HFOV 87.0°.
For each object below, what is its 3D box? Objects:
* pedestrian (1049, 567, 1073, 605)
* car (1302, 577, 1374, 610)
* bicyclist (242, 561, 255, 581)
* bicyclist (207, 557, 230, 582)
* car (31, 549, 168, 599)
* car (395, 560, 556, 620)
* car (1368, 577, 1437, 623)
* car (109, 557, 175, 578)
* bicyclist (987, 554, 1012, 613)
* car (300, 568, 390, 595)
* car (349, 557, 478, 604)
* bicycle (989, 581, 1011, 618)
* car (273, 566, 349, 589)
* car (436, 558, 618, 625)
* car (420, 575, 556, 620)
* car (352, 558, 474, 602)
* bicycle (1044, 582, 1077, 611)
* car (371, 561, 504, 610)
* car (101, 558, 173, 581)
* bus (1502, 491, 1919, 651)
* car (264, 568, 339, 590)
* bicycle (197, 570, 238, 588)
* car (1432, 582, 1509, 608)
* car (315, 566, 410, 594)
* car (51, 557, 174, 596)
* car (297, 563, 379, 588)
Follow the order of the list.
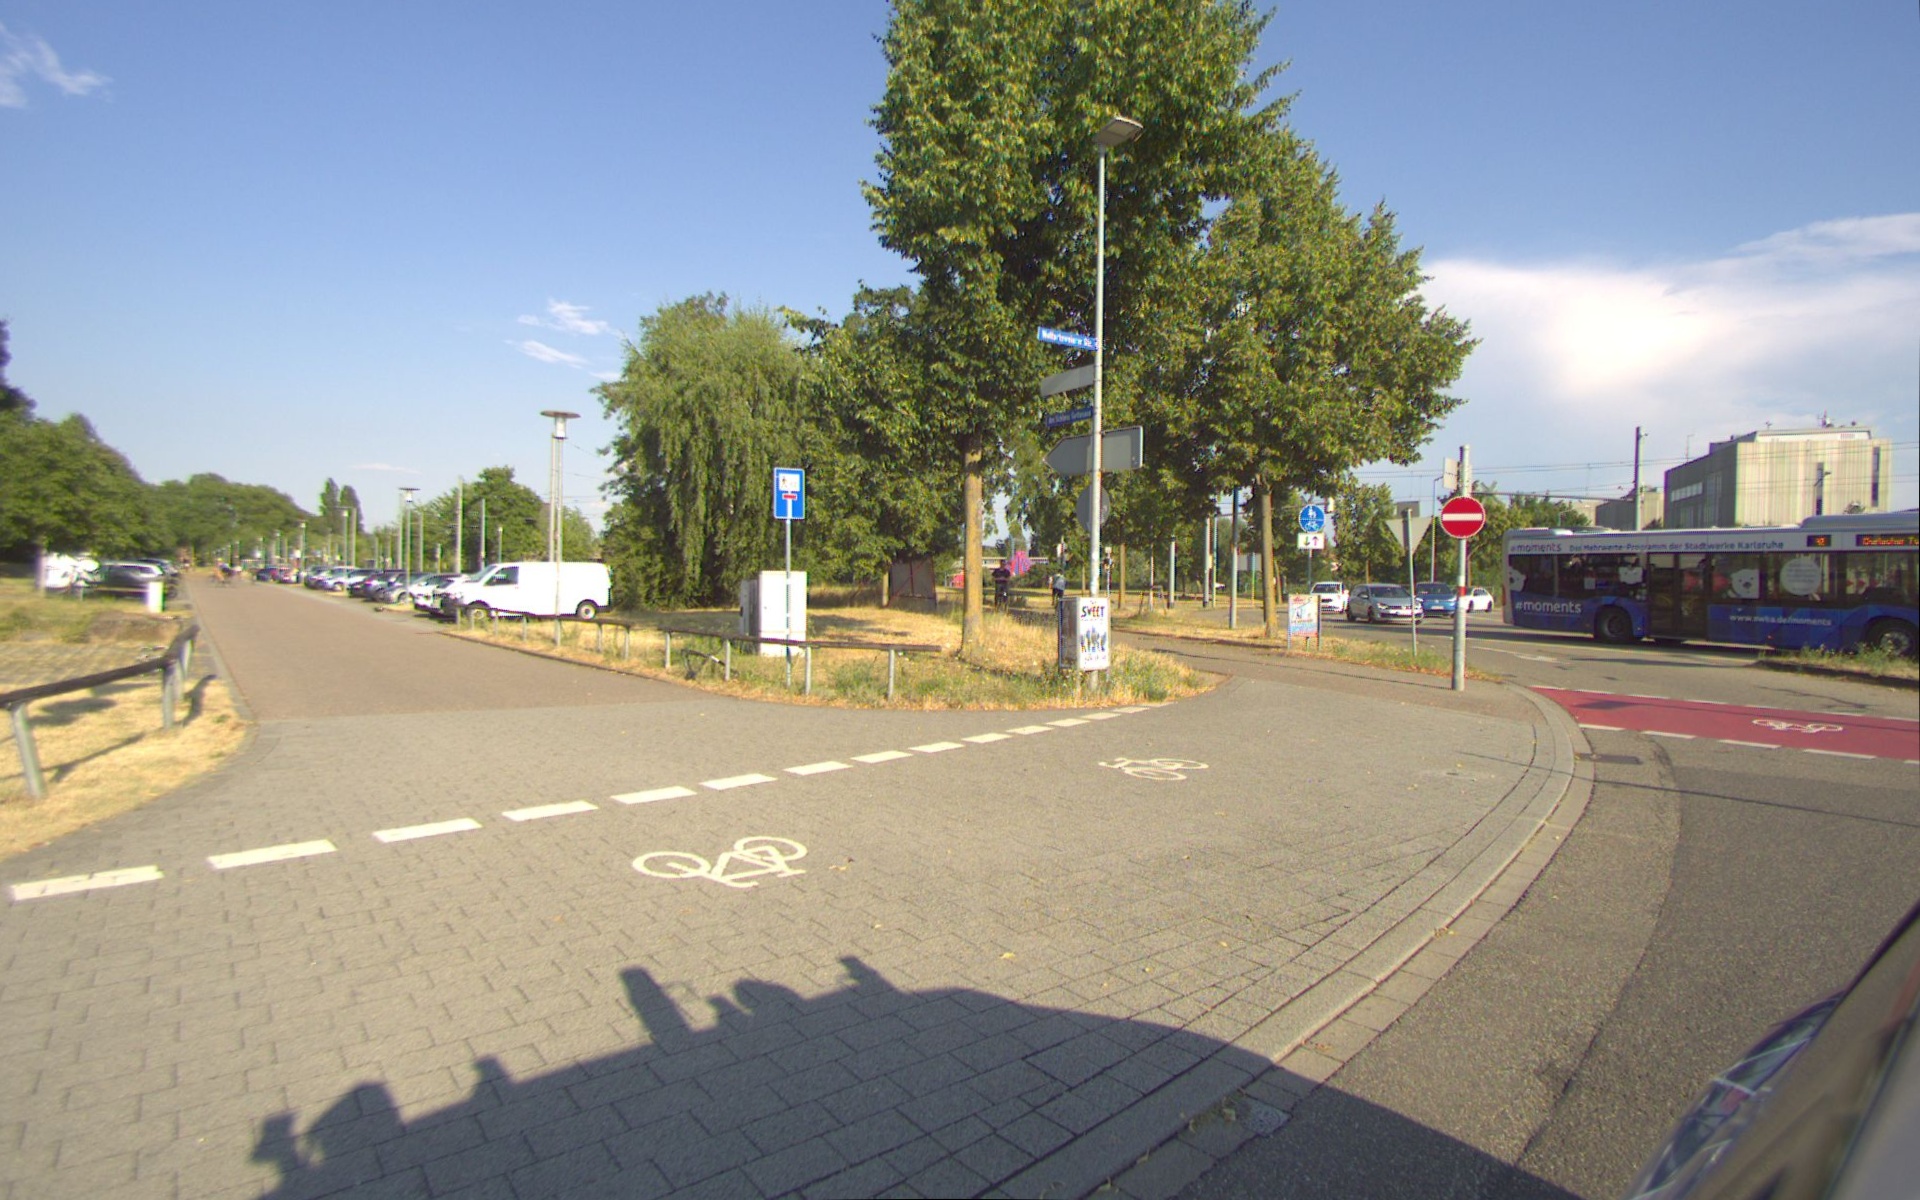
[{"bbox_3d":[3.836,-0.535,38.347,0.647,1.409,0.760,3,1,27],"label":"pedestrian"},{"bbox_3d":[18.903,-0.326,50.547,1.907,1.570,3.983,2,1,45],"label":"car"},{"bbox_3d":[-56.106,-2.308,79.765,0.737,1.544,0.892,1,1,-42],"label":"bicyclist"},{"bbox_3d":[-48.362,-1.999,66.000,0.920,1.612,0.821,1,1,12],"label":"bicyclist"},{"bbox_3d":[-32.998,-0.962,38.929,3.929,1.816,1.891,0,1,-40],"label":"car"},{"bbox_3d":[-17.766,-0.390,37.199,4.966,2.039,2.268,0,2,-38],"label":"car"},{"bbox_3d":[16.212,-0.039,37.273,1.975,1.542,3.975,2,1,19],"label":"car"},{"bbox_3d":[-62.998,-2.477,77.994,3.929,1.549,1.998,0,1,-40],"label":"car"},{"bbox_3d":[1.260,-0.525,32.219,0.714,1.823,0.938,1,1,0],"label":"bicyclist"},{"bbox_3d":[-41.354,-1.236,68.061,4.966,1.724,2.268,0,2,-38],"label":"car"},{"bbox_3d":[-25.205,-0.893,46.737,4.966,2.039,2.268,0,2,-38],"label":"car"},{"bbox_3d":[1.258,-0.030,32.051,0.629,1.137,2.125,1,1,1],"label":"bicycle"},{"bbox_3d":[-51.446,-1.759,80.256,4.966,1.724,2.268,0,2,-38],"label":"car"},{"bbox_3d":[-14.136,-0.335,33.197,5.124,2.038,2.268,-1,2,-38],"label":"car"},{"bbox_3d":[-16.192,-0.105,34.790,3.927,1.461,1.869,0,1,-39],"label":"car"},{"bbox_3d":[-26.640,-0.952,49.351,4.966,2.039,2.268,0,2,-38],"label":"car"},{"bbox_3d":[3.838,-0.131,38.542,0.529,1.068,1.894,1,1,29],"label":"bicycle"},{"bbox_3d":[-23.178,-0.657,44.978,4.966,2.039,2.268,0,2,-38],"label":"car"},{"bbox_3d":[-58.465,-2.147,71.970,3.929,1.549,1.998,0,1,-40],"label":"car"},{"bbox_3d":[18.694,-0.629,23.393,2.610,3.100,12.206,1,1,-20],"label":"bus"},{"bbox_3d":[-53.903,-1.737,82.881,4.966,1.724,2.268,0,2,-38],"label":"car"},{"bbox_3d":[-48.367,-1.386,65.931,2.498,1.094,0.674,1,1,11],"label":"bicycle"},{"bbox_3d":[28.794,-0.299,57.059,4.503,1.401,2.094,0,1,-36],"label":"car"},{"bbox_3d":[-38.035,-1.256,64.437,4.966,1.724,2.268,0,2,-38],"label":"car"},{"bbox_3d":[-36.020,-0.995,43.136,3.929,1.549,1.998,0,1,-40],"label":"car"},{"bbox_3d":[-45.735,-1.795,74.432,4.966,1.724,2.268,0,2,-38],"label":"car"}]
